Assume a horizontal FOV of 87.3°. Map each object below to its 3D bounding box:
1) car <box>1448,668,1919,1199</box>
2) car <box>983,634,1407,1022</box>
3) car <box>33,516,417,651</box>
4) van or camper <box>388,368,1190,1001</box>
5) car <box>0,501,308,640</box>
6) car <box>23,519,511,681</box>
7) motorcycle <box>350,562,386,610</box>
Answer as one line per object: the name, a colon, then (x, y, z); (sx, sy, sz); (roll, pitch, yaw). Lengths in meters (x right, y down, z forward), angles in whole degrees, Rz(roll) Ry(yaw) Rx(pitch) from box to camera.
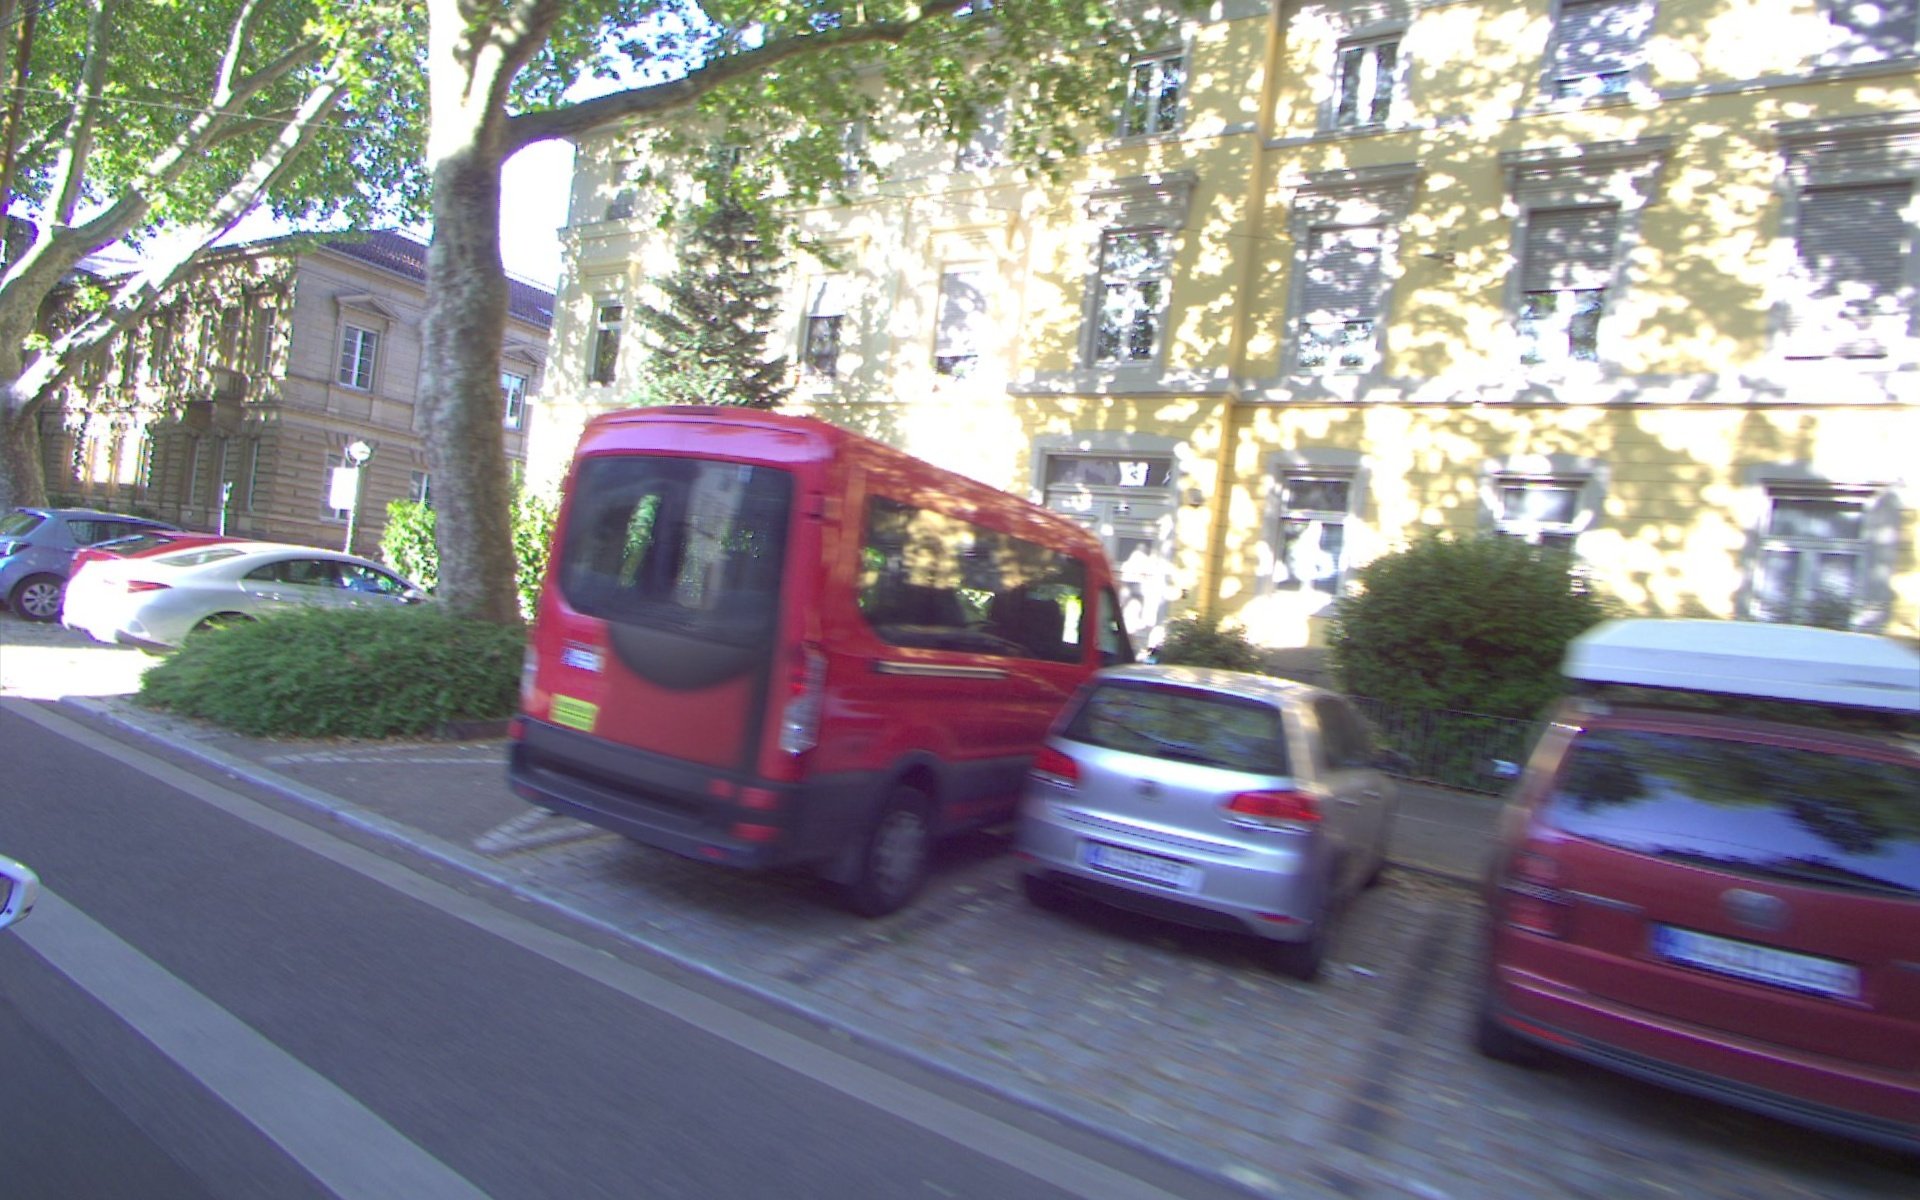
car: (3.554, 1.278, 5.046); (1.737, 1.669, 3.825); (5, 0, 28)
car: (1.793, 1.160, 6.542); (1.640, 1.548, 3.741); (7, 0, 28)
car: (-9.634, -0.131, 13.531); (1.651, 1.404, 3.760); (7, 0, 25)
van or camper: (-0.430, 0.375, 7.123); (2.248, 2.551, 5.823); (8, 1, 29)
car: (-11.895, -0.389, 14.488); (1.653, 1.525, 3.759); (7, -2, 31)
car: (-7.758, 0.106, 11.736); (1.731, 1.434, 4.289); (7, 0, 32)
motorcycle: (-18.419, -0.455, 31.294); (0.492, 1.312, 2.158); (9, -1, -39)
